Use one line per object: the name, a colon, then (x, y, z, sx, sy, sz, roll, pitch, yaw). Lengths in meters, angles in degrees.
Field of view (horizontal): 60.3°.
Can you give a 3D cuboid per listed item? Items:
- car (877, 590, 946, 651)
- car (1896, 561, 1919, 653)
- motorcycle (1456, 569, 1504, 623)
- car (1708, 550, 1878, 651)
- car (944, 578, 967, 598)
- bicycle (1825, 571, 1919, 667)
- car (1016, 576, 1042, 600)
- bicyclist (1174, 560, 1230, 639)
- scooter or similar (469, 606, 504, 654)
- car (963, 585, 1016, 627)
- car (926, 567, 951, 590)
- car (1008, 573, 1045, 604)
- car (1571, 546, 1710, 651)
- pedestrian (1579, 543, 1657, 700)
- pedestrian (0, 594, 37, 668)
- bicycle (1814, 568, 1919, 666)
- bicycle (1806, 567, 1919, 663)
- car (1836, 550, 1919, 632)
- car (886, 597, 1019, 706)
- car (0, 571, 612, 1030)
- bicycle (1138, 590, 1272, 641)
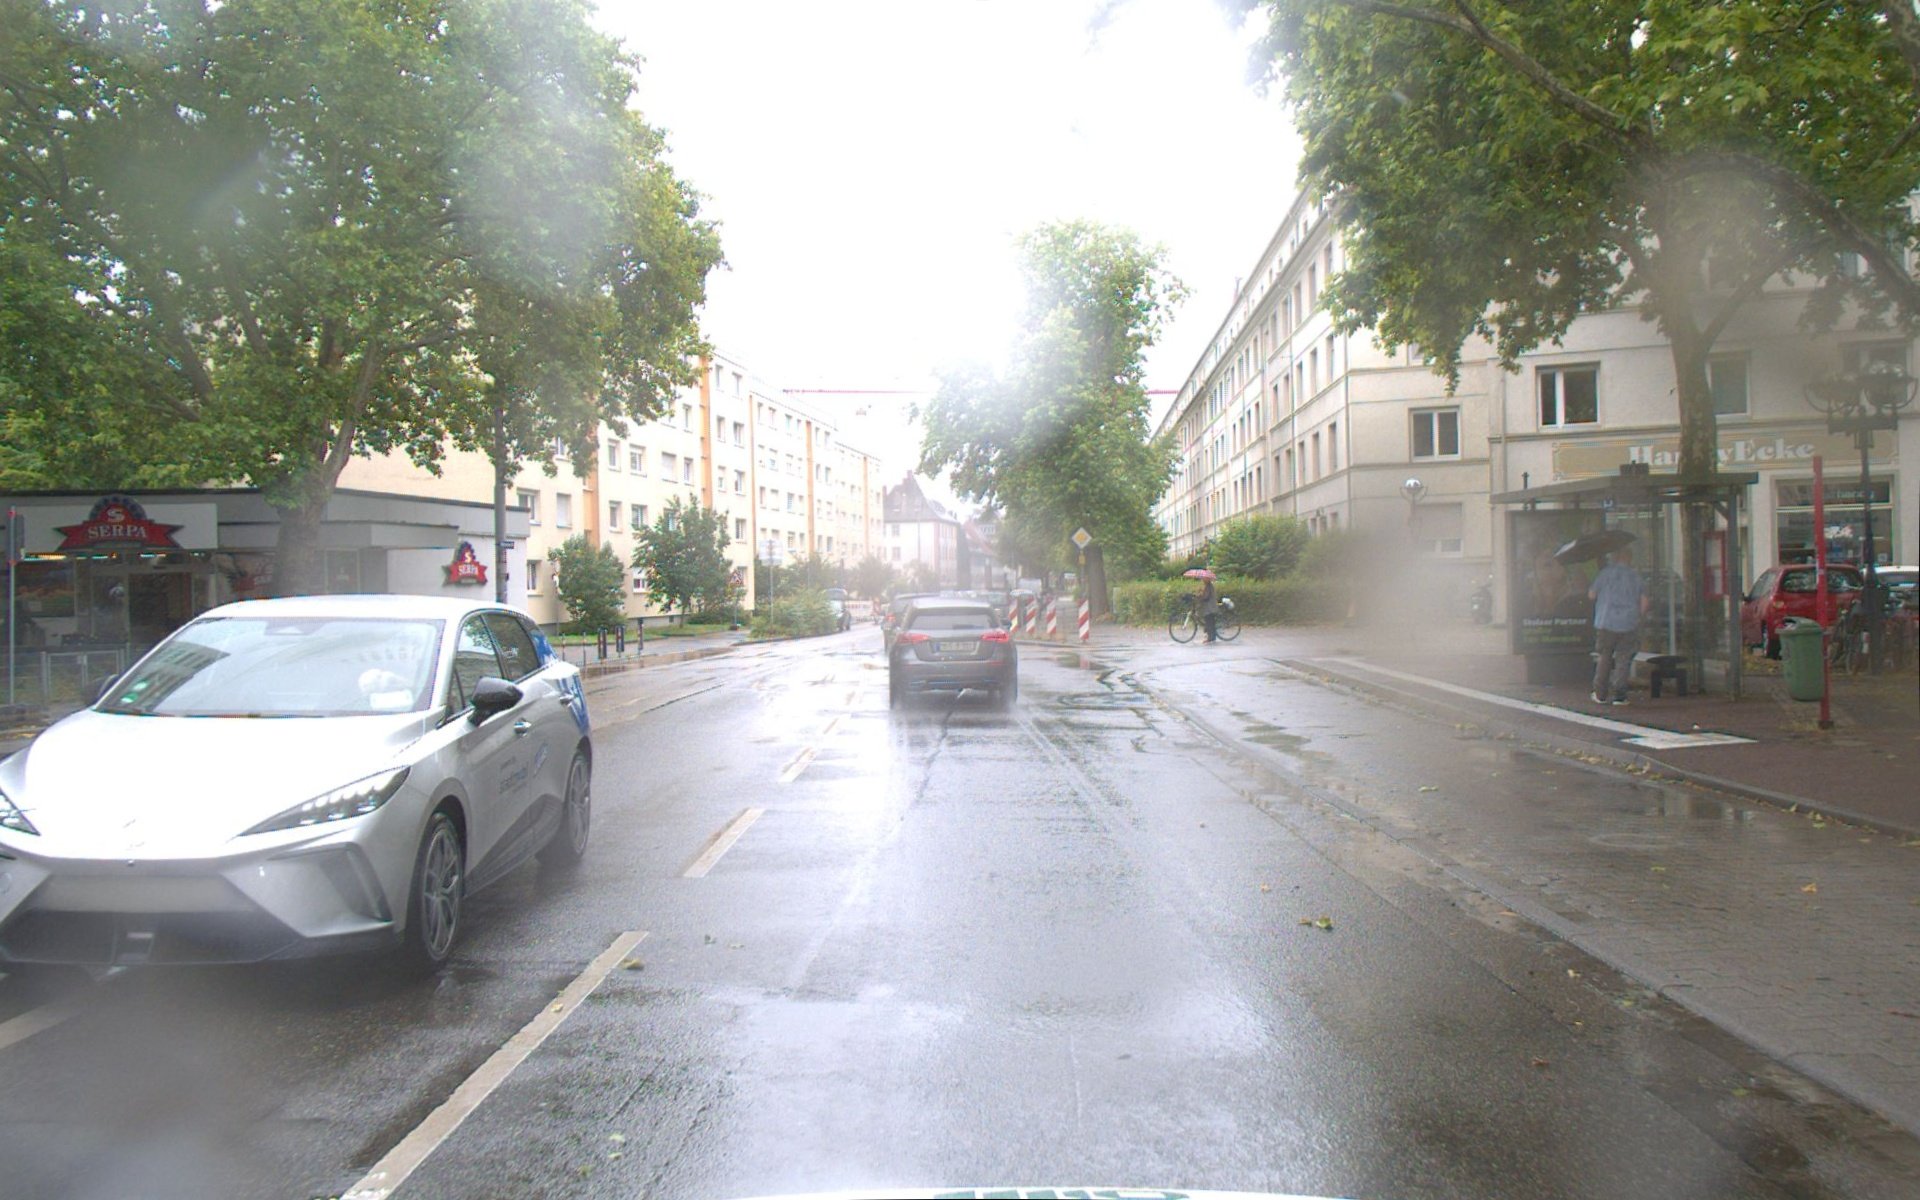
car: (-1.188, 0.488, 41.847, 1.574, 1.396, 4.000, -2, 1, 0)
car: (15.472, 0.106, 25.397, 1.550, 1.360, 3.260, -2, -2, 24)
motorcycle: (14.433, -0.133, 45.843, 0.858, 1.416, 3.003, -2, 0, 25)
car: (13.300, 0.063, 26.596, 1.492, 1.482, 3.392, -2, -2, 10)
car: (-0.429, -1.115, 160.492, 1.850, 1.868, 4.002, -2, 0, 4)
bicycle: (12.296, 0.238, 21.571, 1.725, 1.216, 0.499, -2, 0, 21)
car: (5.687, -0.934, 135.505, 2.004, 1.868, 4.794, -2, 0, 4)
bicyclist: (5.990, -0.005, 41.026, 0.924, 1.901, 1.137, -2, 0, -18)
scooter or similar: (-13.172, 0.816, 46.033, 0.428, 1.288, 1.376, -2, 0, 7)
car: (1.172, 0.220, 67.511, 1.953, 1.601, 3.999, -2, 0, -1)
car: (-1.830, -1.848, 143.021, 1.850, 1.868, 4.002, -2, 0, 4)
car: (3.615, -0.612, 88.925, 1.850, 1.601, 4.002, -2, 0, 4)
car: (11.226, 0.026, 27.487, 1.652, 1.578, 3.525, -2, -2, 15)
pedestrian: (7.318, 0.235, 18.423, 0.701, 1.698, 0.665, -2, 0, 17)
pedestrian: (-21.474, 0.706, 37.697, 0.560, 1.657, 0.639, -1, 0, -15)
bicycle: (12.502, 0.217, 22.167, 1.797, 1.280, 0.525, -2, 0, 21)
bicycle: (12.788, 0.195, 22.913, 1.797, 1.280, 0.710, -2, 0, 21)
car: (20.294, -0.204, 35.729, 1.953, 1.656, 4.630, 1, 1, 22)
car: (-0.101, 0.681, 23.530, 1.754, 1.396, 3.507, 0, 0, 0)
car: (-2.941, 0.683, 7.703, 1.808, 1.536, 4.054, -2, 0, -1)
bicycle: (6.081, 0.368, 41.107, 3.157, 1.131, 1.048, -2, 0, -19)
